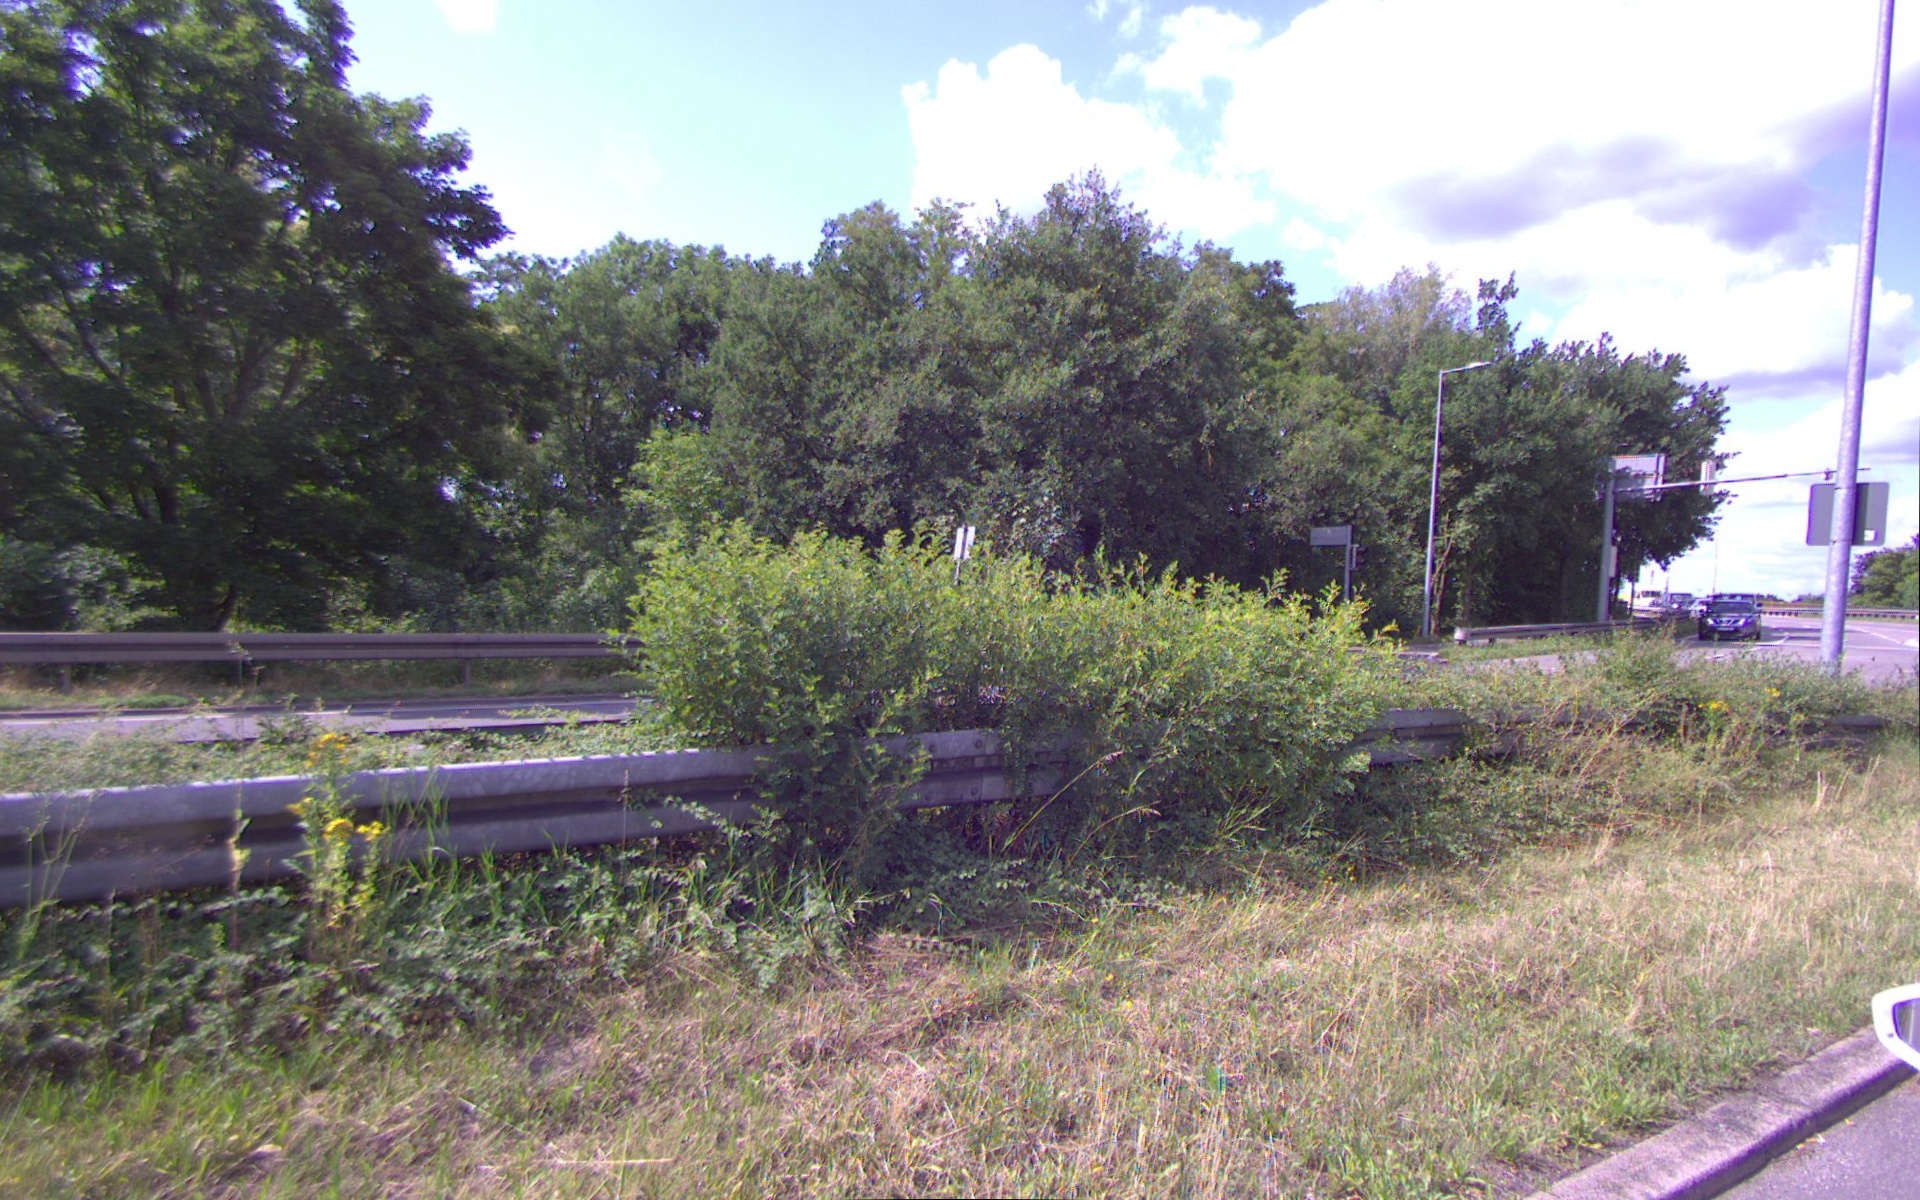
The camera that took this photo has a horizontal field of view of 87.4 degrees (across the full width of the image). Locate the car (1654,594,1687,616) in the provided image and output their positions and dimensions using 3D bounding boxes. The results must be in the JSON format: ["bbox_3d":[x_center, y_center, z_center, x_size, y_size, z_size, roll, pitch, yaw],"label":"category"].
[{"bbox_3d":[58.020,0.410,82.083,1.817,1.728,4.316,2,1,32],"label":"car"}]

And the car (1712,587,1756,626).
[{"bbox_3d":[44.852,0.342,58.265,1.819,2.128,4.311,2,1,36],"label":"car"}]

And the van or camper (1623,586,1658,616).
[{"bbox_3d":[64.680,0.071,95.530,1.963,2.719,6.852,2,1,28],"label":"van or camper"}]

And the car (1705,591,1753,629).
[{"bbox_3d":[39.946,0.491,52.131,1.820,1.826,4.307,2,1,39],"label":"car"}]

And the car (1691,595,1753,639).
[{"bbox_3d":[30.689,0.689,40.416,1.816,1.639,3.982,2,0,39],"label":"car"}]
